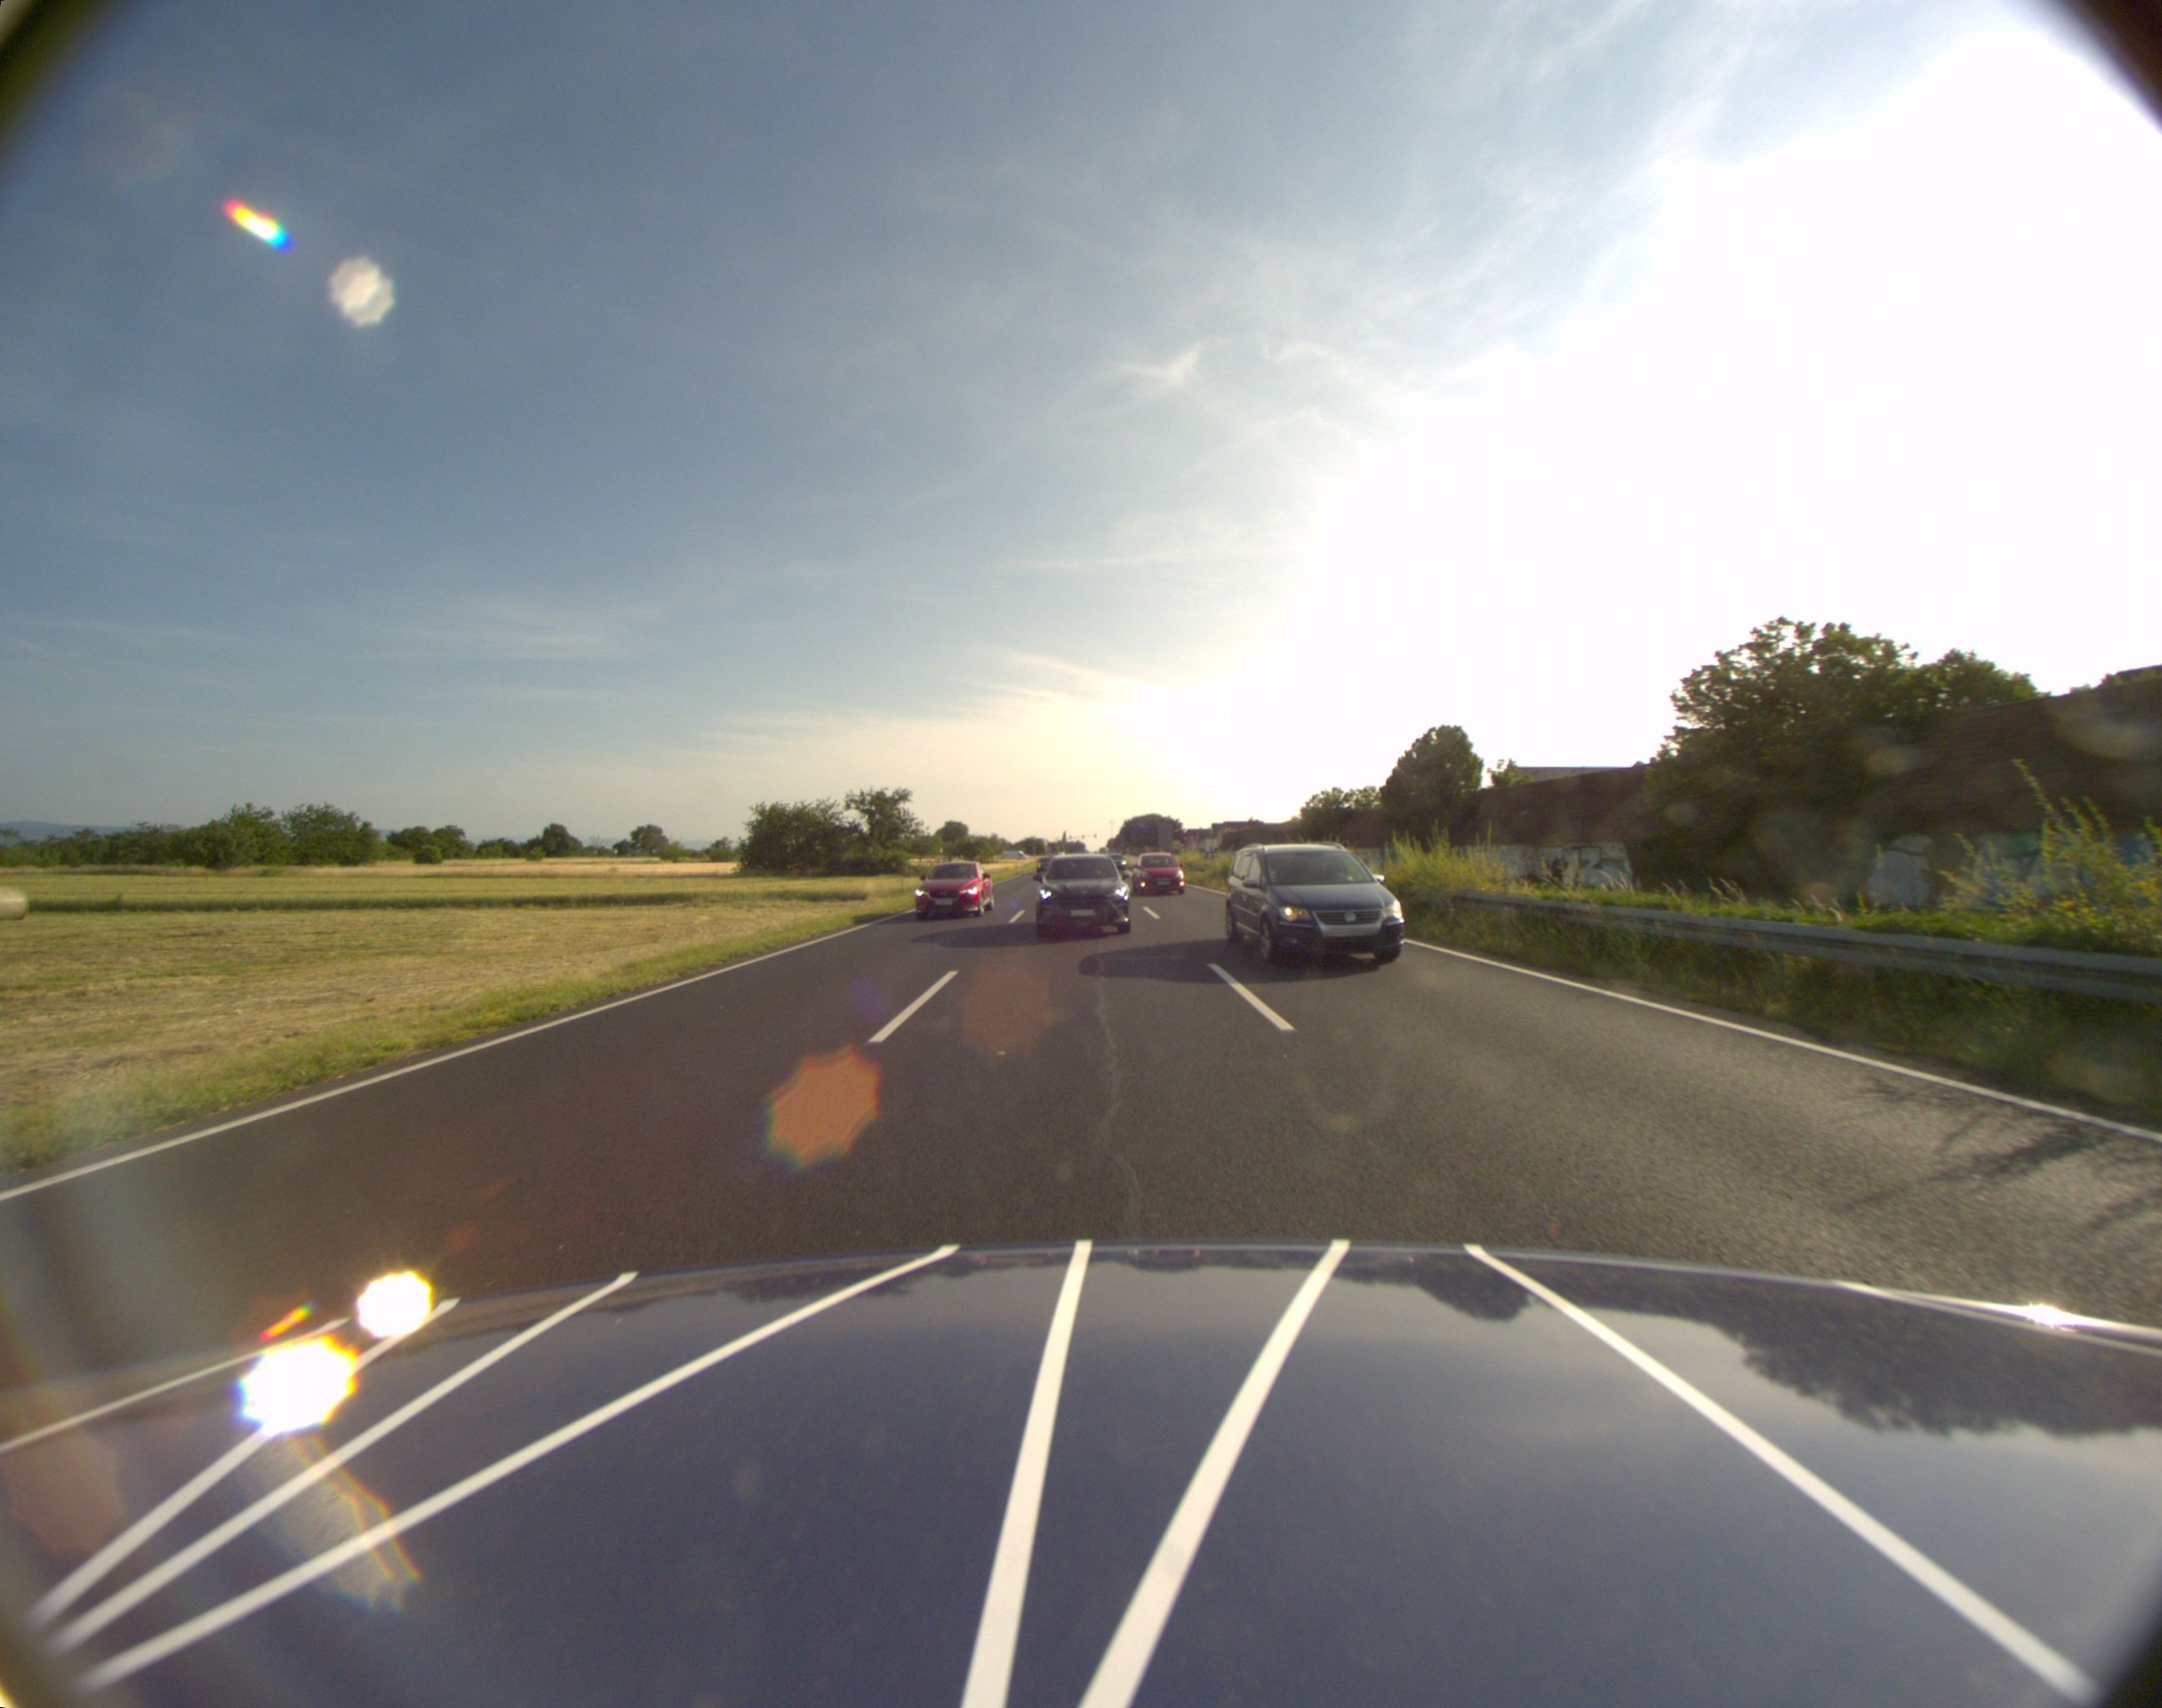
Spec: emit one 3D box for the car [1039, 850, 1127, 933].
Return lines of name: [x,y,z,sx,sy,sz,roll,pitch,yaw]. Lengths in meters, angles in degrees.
car: [0.100,0.780,18.162,1.791,1.594,4.339,-2,1,1]

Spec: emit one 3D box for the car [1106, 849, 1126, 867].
car: [3.309,0.351,71.616,1.719,1.521,3.999,-2,1,1]

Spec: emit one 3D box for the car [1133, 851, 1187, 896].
car: [3.075,0.718,30.273,1.748,1.537,3.999,-2,1,1]

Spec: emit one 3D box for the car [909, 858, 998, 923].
car: [-3.515,0.939,21.810,1.708,1.497,4.500,-2,1,0]

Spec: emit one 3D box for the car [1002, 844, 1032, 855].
car: [-16.123,-1.185,191.456,7.202,2.654,2.094,-1,2,15]

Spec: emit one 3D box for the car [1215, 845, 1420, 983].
car: [3.331,0.718,11.693,1.777,1.612,4.681,-2,1,1]

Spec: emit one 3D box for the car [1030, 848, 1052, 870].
car: [-3.840,0.485,74.157,1.999,2.002,3.998,-2,1,-2]
